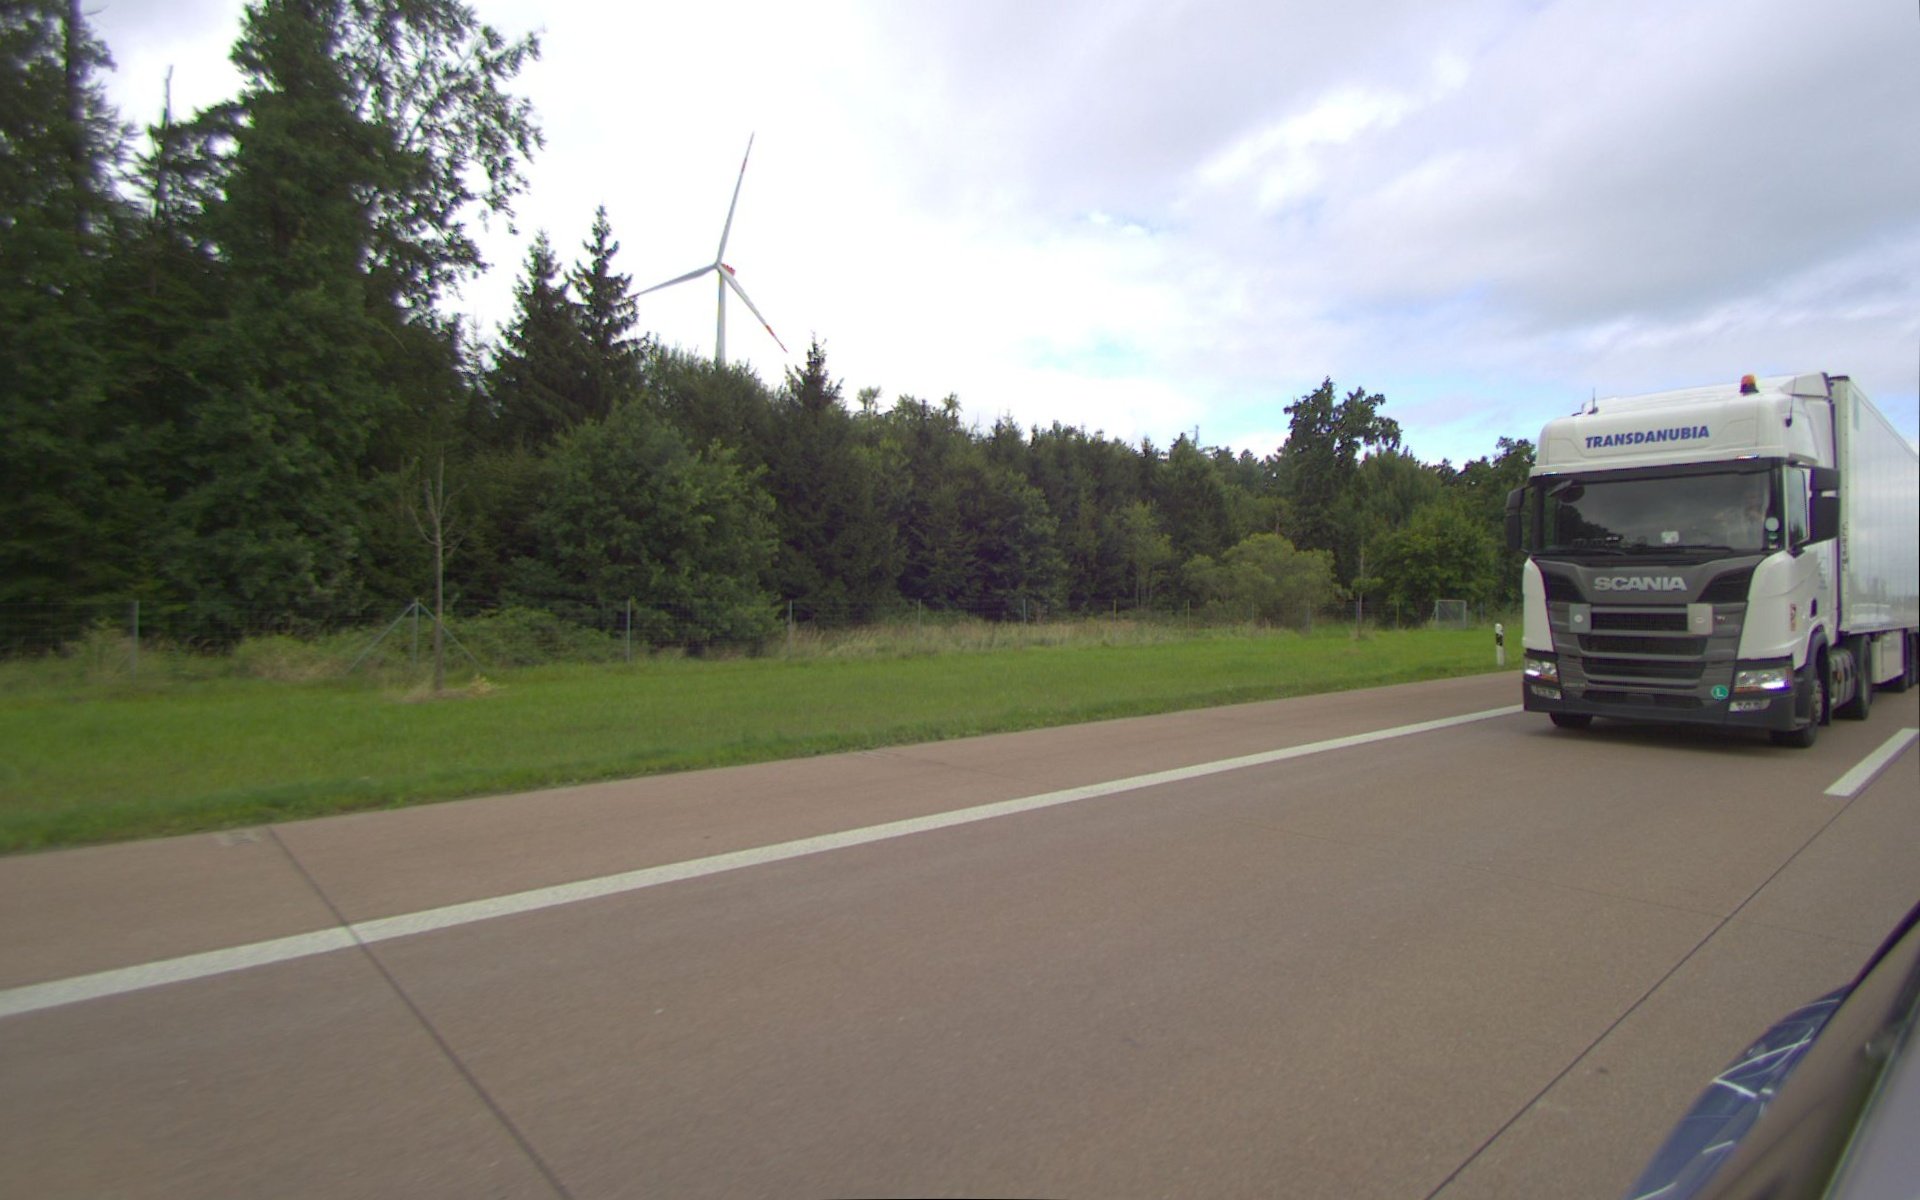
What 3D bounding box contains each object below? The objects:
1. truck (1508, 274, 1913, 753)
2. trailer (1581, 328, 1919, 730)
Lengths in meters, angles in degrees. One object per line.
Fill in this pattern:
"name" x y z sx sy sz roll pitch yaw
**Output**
"truck" 9.065 -0.805 12.048 5.243 4.348 2.925 0 0 -42
"trailer" 13.972 -0.795 16.555 13.381 4.348 2.925 0 0 -42
